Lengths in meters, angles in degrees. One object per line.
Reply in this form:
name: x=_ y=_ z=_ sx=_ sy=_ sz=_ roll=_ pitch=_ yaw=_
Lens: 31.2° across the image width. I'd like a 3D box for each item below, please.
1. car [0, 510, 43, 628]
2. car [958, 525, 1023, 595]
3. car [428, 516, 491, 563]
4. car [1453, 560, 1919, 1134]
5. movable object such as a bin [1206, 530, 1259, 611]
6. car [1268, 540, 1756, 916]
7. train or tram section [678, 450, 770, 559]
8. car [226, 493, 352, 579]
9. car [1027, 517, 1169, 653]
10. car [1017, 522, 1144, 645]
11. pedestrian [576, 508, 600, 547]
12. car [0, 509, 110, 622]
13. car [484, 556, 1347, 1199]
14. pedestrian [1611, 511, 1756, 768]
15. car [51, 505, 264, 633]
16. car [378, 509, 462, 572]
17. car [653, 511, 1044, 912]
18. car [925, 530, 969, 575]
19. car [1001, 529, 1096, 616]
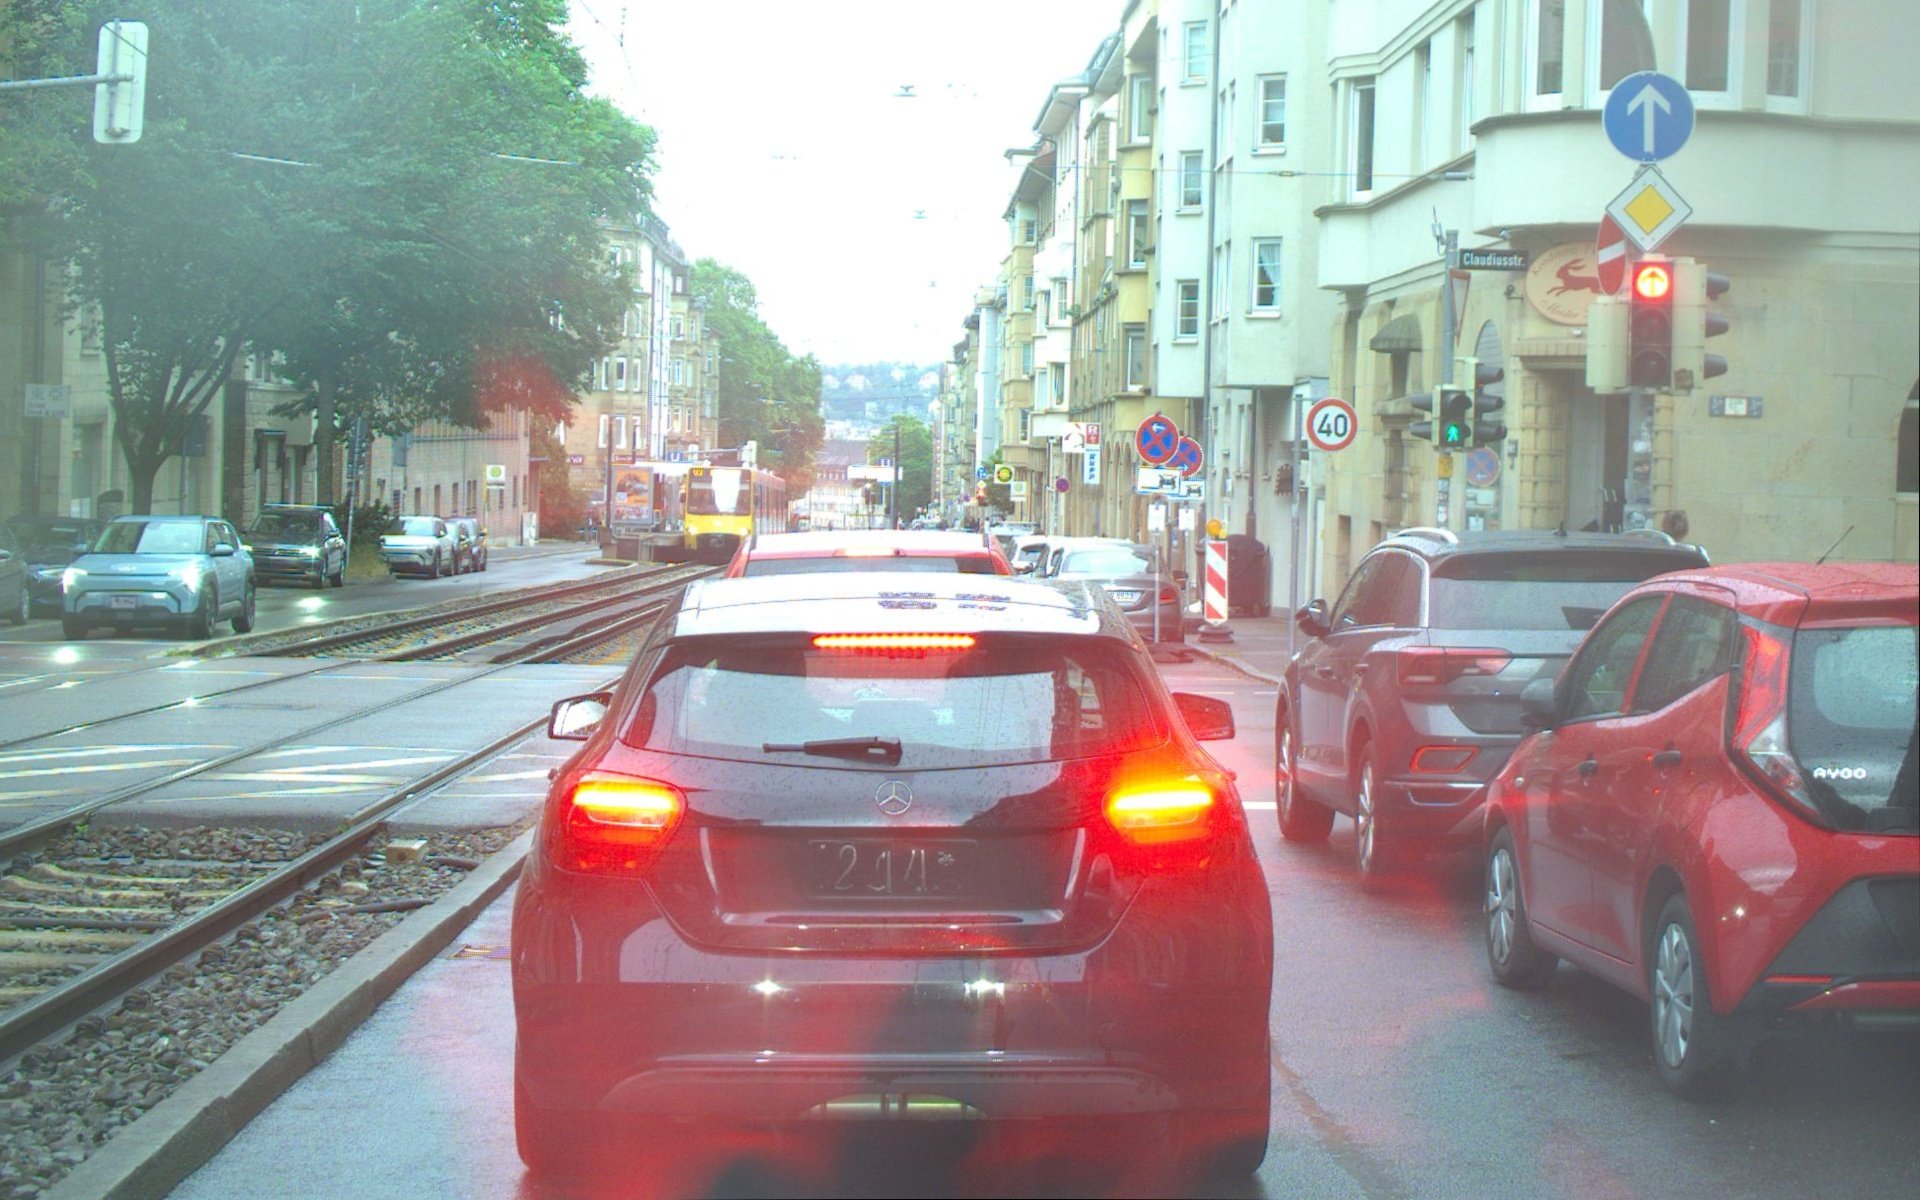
car: x=-13.477 y=-0.425 z=45.669 sx=1.752 sy=1.547 sz=4.036 roll=1 pitch=0 yaw=-4
car: x=0.642 y=-0.862 z=73.569 sx=1.294 sy=1.437 sz=2.929 roll=1 pitch=1 yaw=-1
car: x=-14.329 y=-1.724 z=98.551 sx=1.448 sy=1.326 sz=3.272 roll=1 pitch=0 yaw=-2
car: x=2.653 y=0.627 z=10.500 sx=1.642 sy=1.443 sz=3.299 roll=1 pitch=1 yaw=-3
movable object such as a bin: x=4.719 y=-0.510 z=59.547 sx=0.878 sy=1.384 sz=0.982 roll=1 pitch=0 yaw=3
car: x=2.390 y=0.484 z=15.739 sx=1.544 sy=1.481 sz=3.830 roll=1 pitch=1 yaw=-1
train or tram section: x=-8.755 y=-3.496 z=128.712 sx=2.783 sy=3.847 sz=10.430 roll=1 pitch=0 yaw=-1
car: x=-13.950 y=-1.320 z=71.678 sx=1.875 sy=1.731 sz=3.918 roll=1 pitch=0 yaw=-1
car: x=1.674 y=-0.214 z=42.616 sx=1.544 sy=1.585 sz=3.548 roll=1 pitch=1 yaw=-1
car: x=1.618 y=-0.251 z=47.091 sx=1.544 sy=1.585 sz=3.548 roll=1 pitch=1 yaw=-1
pedestrian: x=-19.030 y=-3.707 z=175.790 sx=1.053 sy=1.951 sz=1.043 roll=2 pitch=1 yaw=1
car: x=-13.730 y=-0.513 z=50.699 sx=1.716 sy=1.605 sz=3.919 roll=1 pitch=0 yaw=-5
car: x=-0.123 y=0.636 z=9.432 sx=1.829 sy=1.453 sz=4.104 roll=1 pitch=1 yaw=-1
pedestrian: x=5.034 y=0.261 z=23.977 sx=0.741 sy=1.742 sz=1.111 roll=1 pitch=0 yaw=-1
car: x=-10.453 y=-0.410 z=45.055 sx=1.898 sy=1.582 sz=3.973 roll=1 pitch=0 yaw=-1
car: x=-13.986 y=-1.537 z=89.141 sx=1.589 sy=1.575 sz=3.918 roll=1 pitch=0 yaw=-1
car: x=-0.475 y=0.434 z=15.819 sx=1.565 sy=1.604 sz=3.814 roll=1 pitch=0 yaw=-1
car: x=-0.499 y=-1.781 z=127.748 sx=1.544 sy=1.630 sz=3.686 roll=1 pitch=1 yaw=-1
car: x=1.561 y=-0.505 z=61.500 sx=1.544 sy=1.481 sz=3.548 roll=1 pitch=1 yaw=-1
